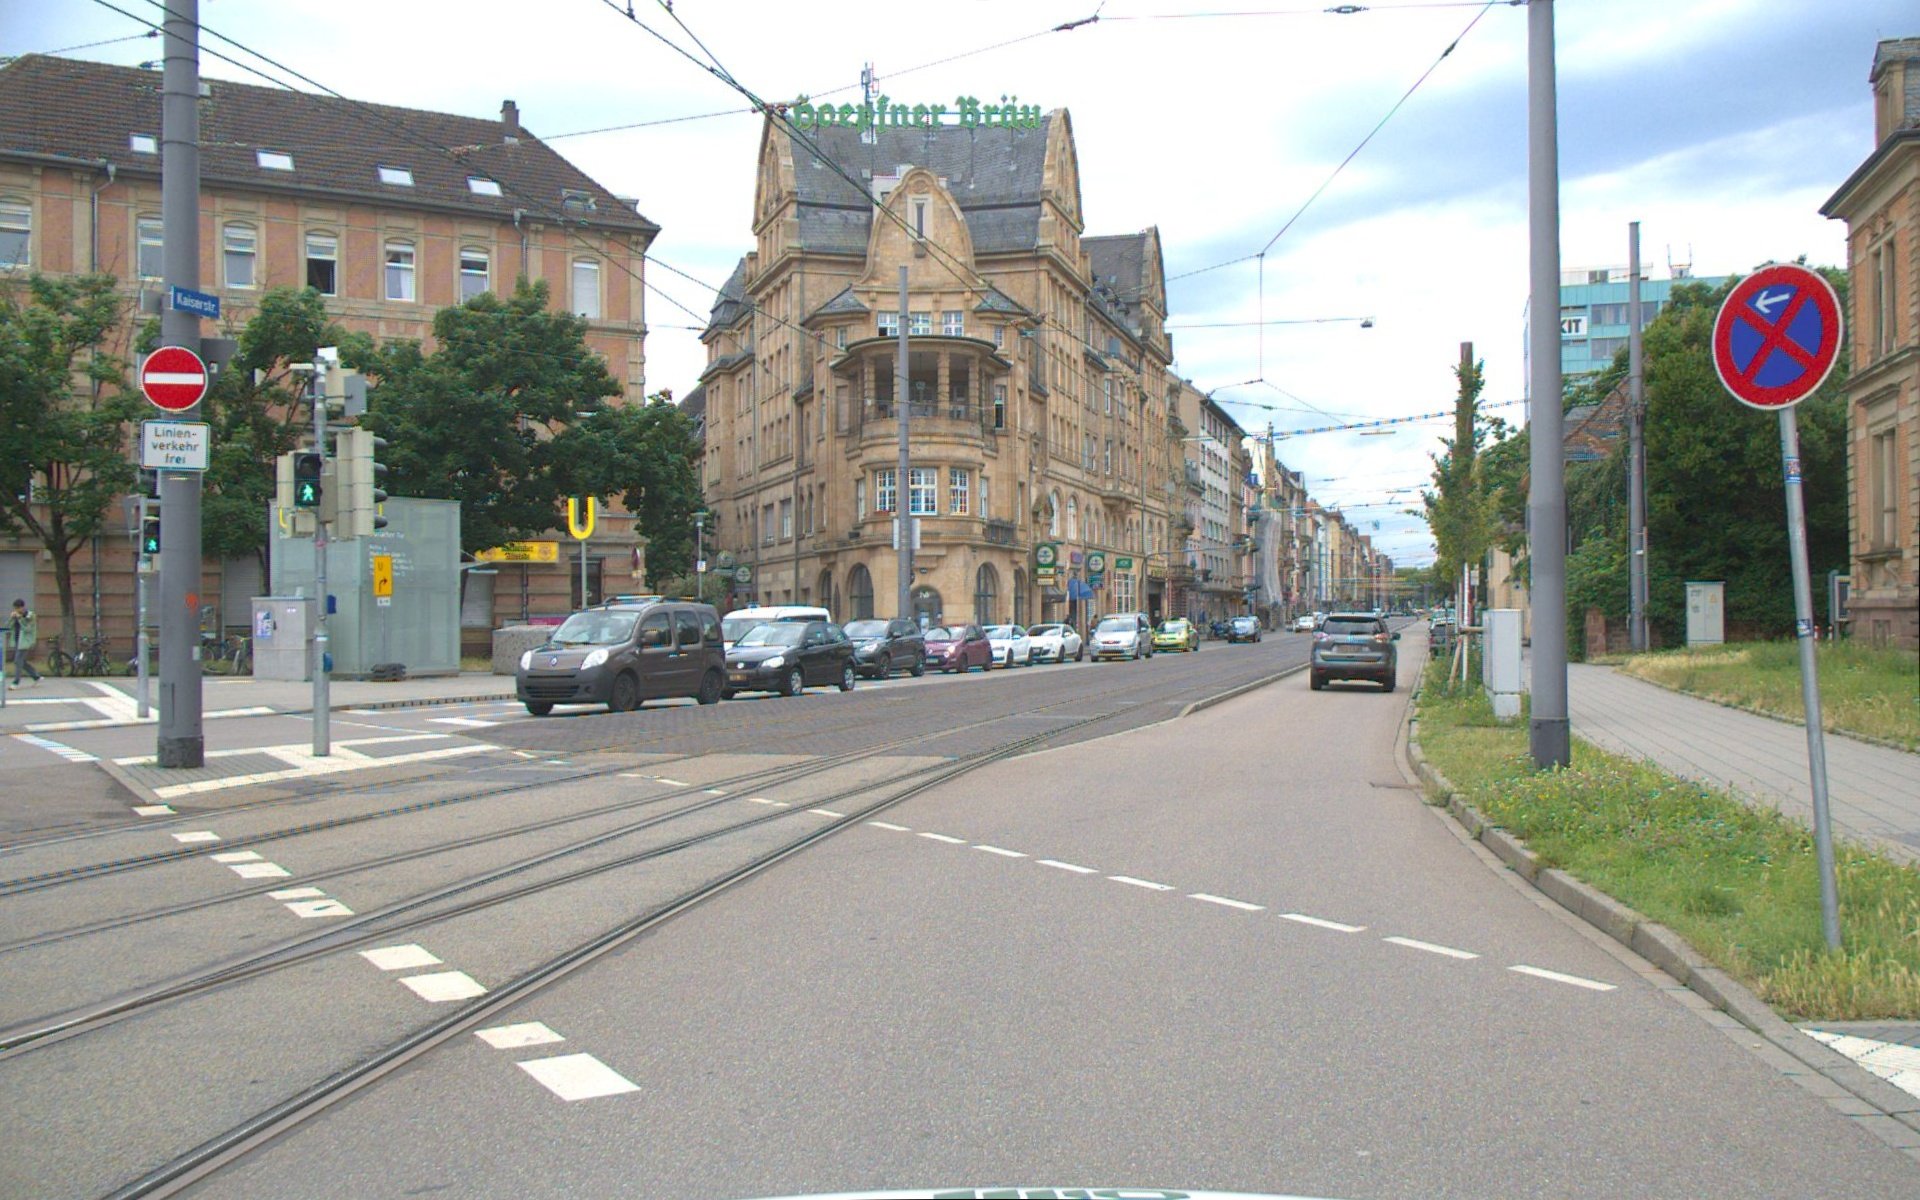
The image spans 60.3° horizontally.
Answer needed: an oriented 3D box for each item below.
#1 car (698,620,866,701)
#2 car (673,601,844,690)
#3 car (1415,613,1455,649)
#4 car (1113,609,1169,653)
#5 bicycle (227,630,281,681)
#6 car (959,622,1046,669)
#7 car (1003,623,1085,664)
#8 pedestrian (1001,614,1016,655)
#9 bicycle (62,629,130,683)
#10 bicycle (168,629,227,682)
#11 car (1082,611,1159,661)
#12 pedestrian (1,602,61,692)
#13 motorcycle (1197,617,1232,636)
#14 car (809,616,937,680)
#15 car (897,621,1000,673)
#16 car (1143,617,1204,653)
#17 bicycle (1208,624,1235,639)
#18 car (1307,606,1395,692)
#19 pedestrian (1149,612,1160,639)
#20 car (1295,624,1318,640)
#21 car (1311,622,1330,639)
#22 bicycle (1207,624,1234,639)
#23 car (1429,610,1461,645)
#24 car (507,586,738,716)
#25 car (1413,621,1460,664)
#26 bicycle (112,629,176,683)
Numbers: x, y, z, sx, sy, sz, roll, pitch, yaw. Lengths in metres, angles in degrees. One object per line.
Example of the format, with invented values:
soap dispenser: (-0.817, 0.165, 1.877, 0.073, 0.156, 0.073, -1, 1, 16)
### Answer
car: (-3.384, 1.127, 32.179, 1.654, 1.467, 4.001, -1, -1, 20)
car: (-4.610, 1.022, 38.698, 1.824, 1.949, 5.101, -1, -1, 21)
car: (22.619, 1.457, 78.849, 1.718, 1.602, 3.933, -3, -1, 15)
car: (8.961, 1.507, 81.388, 1.859, 2.012, 5.100, -3, -1, 15)
bicycle: (-19.451, 1.522, 45.651, 0.942, 1.378, 3.107, 1, -2, -15)
car: (1.457, 1.474, 54.891, 1.710, 1.404, 4.364, -4, -2, 17)
car: (3.114, 1.552, 60.288, 1.886, 1.404, 4.259, -1, -1, 19)
pedestrian: (2.053, 1.451, 69.936, 0.617, 1.749, 0.533, 0, -1, 2)
bicycle: (-22.857, 1.470, 43.808, 0.942, 1.378, 3.107, 1, -2, -15)
bicycle: (-20.611, 1.497, 44.760, 0.942, 1.378, 3.107, 1, -2, -15)
car: (5.971, 1.292, 61.143, 1.824, 1.736, 4.911, -2, -1, 17)
pedestrian: (-18.469, 0.917, 32.889, 0.592, 1.758, 0.907, -1, -1, 41)
motorcycle: (17.706, 1.837, 115.033, 2.302, 1.325, 0.878, 0, -1, -20)
car: (-2.282, 1.256, 44.611, 1.824, 1.561, 4.302, -3, -1, 21)
car: (-0.305, 1.392, 49.627, 1.824, 1.424, 3.896, -3, -1, 19)
car: (9.953, 1.599, 76.847, 1.859, 1.537, 4.429, -2, -1, 19)
bicycle: (18.611, 2.251, 117.785, 1.924, 1.019, 0.463, -1, -1, 9)
car: (8.872, 1.063, 37.346, 1.712, 1.786, 3.926, 1, 0, 16)
pedestrian: (12.046, 1.579, 102.318, 0.556, 1.626, 0.719, -1, -1, 16)
car: (32.502, 2.999, 155.131, 1.722, 1.475, 4.617, -1, -1, 16)
car: (38.122, 3.230, 174.878, 1.722, 1.701, 4.617, -1, -1, 16)
bicycle: (18.474, 2.229, 117.152, 1.880, 1.019, 0.463, -1, -1, 9)
car: (31.942, 1.802, 108.995, 1.812, 2.152, 4.987, -3, -1, 16)
car: (-5.375, 0.797, 26.934, 1.654, 1.934, 4.387, -1, -1, 20)
car: (17.993, 1.584, 62.542, 1.603, 1.459, 3.933, -3, -1, 15)
bicycle: (-21.798, 1.483, 44.247, 0.942, 1.378, 3.107, 1, -2, -15)
